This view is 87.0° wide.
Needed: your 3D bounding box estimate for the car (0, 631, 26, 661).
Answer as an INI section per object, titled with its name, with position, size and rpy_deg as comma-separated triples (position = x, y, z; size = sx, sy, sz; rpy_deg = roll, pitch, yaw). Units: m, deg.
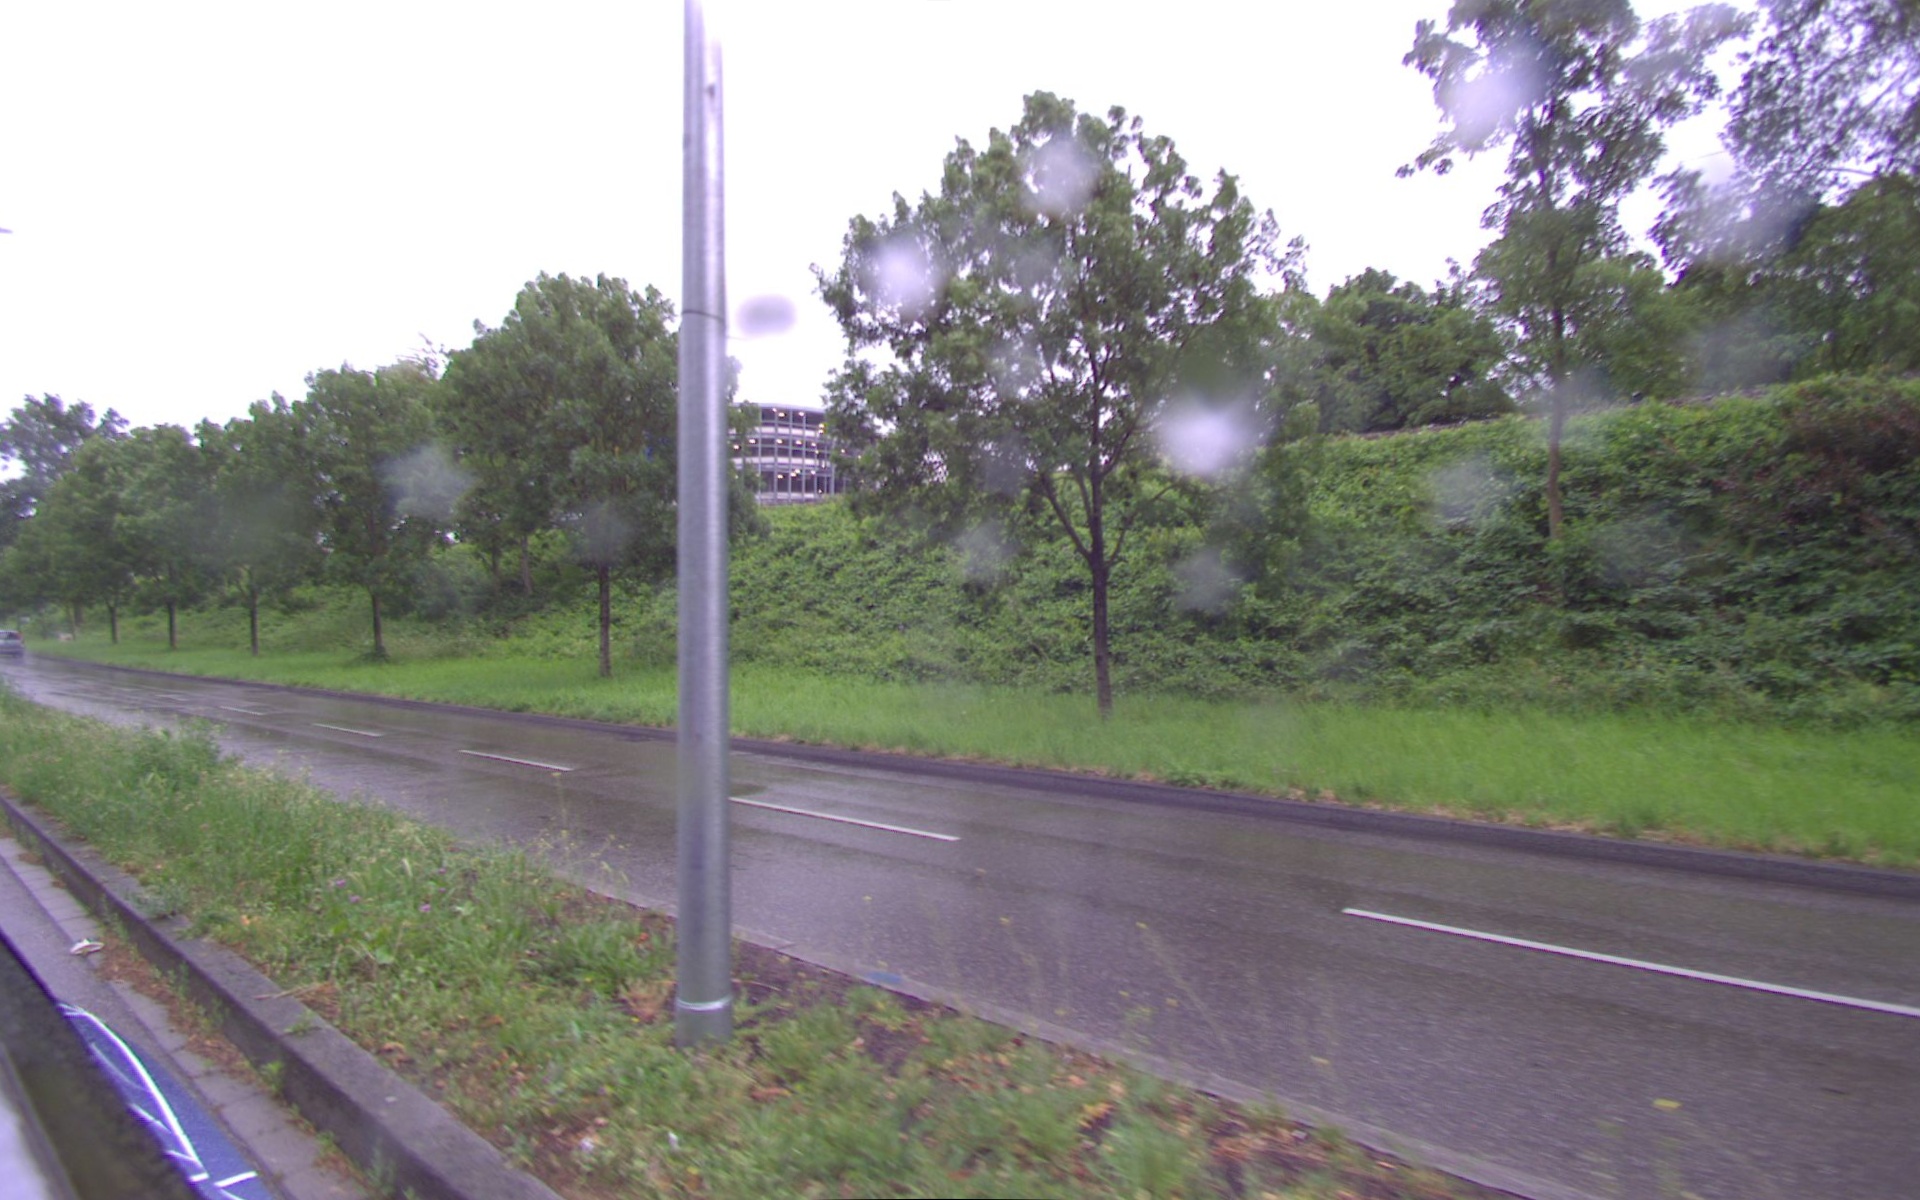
[car]
position = -54.140, 2.595, 57.122
size = 3.846, 1.630, 1.678
rpy_deg = -1, -2, 42
